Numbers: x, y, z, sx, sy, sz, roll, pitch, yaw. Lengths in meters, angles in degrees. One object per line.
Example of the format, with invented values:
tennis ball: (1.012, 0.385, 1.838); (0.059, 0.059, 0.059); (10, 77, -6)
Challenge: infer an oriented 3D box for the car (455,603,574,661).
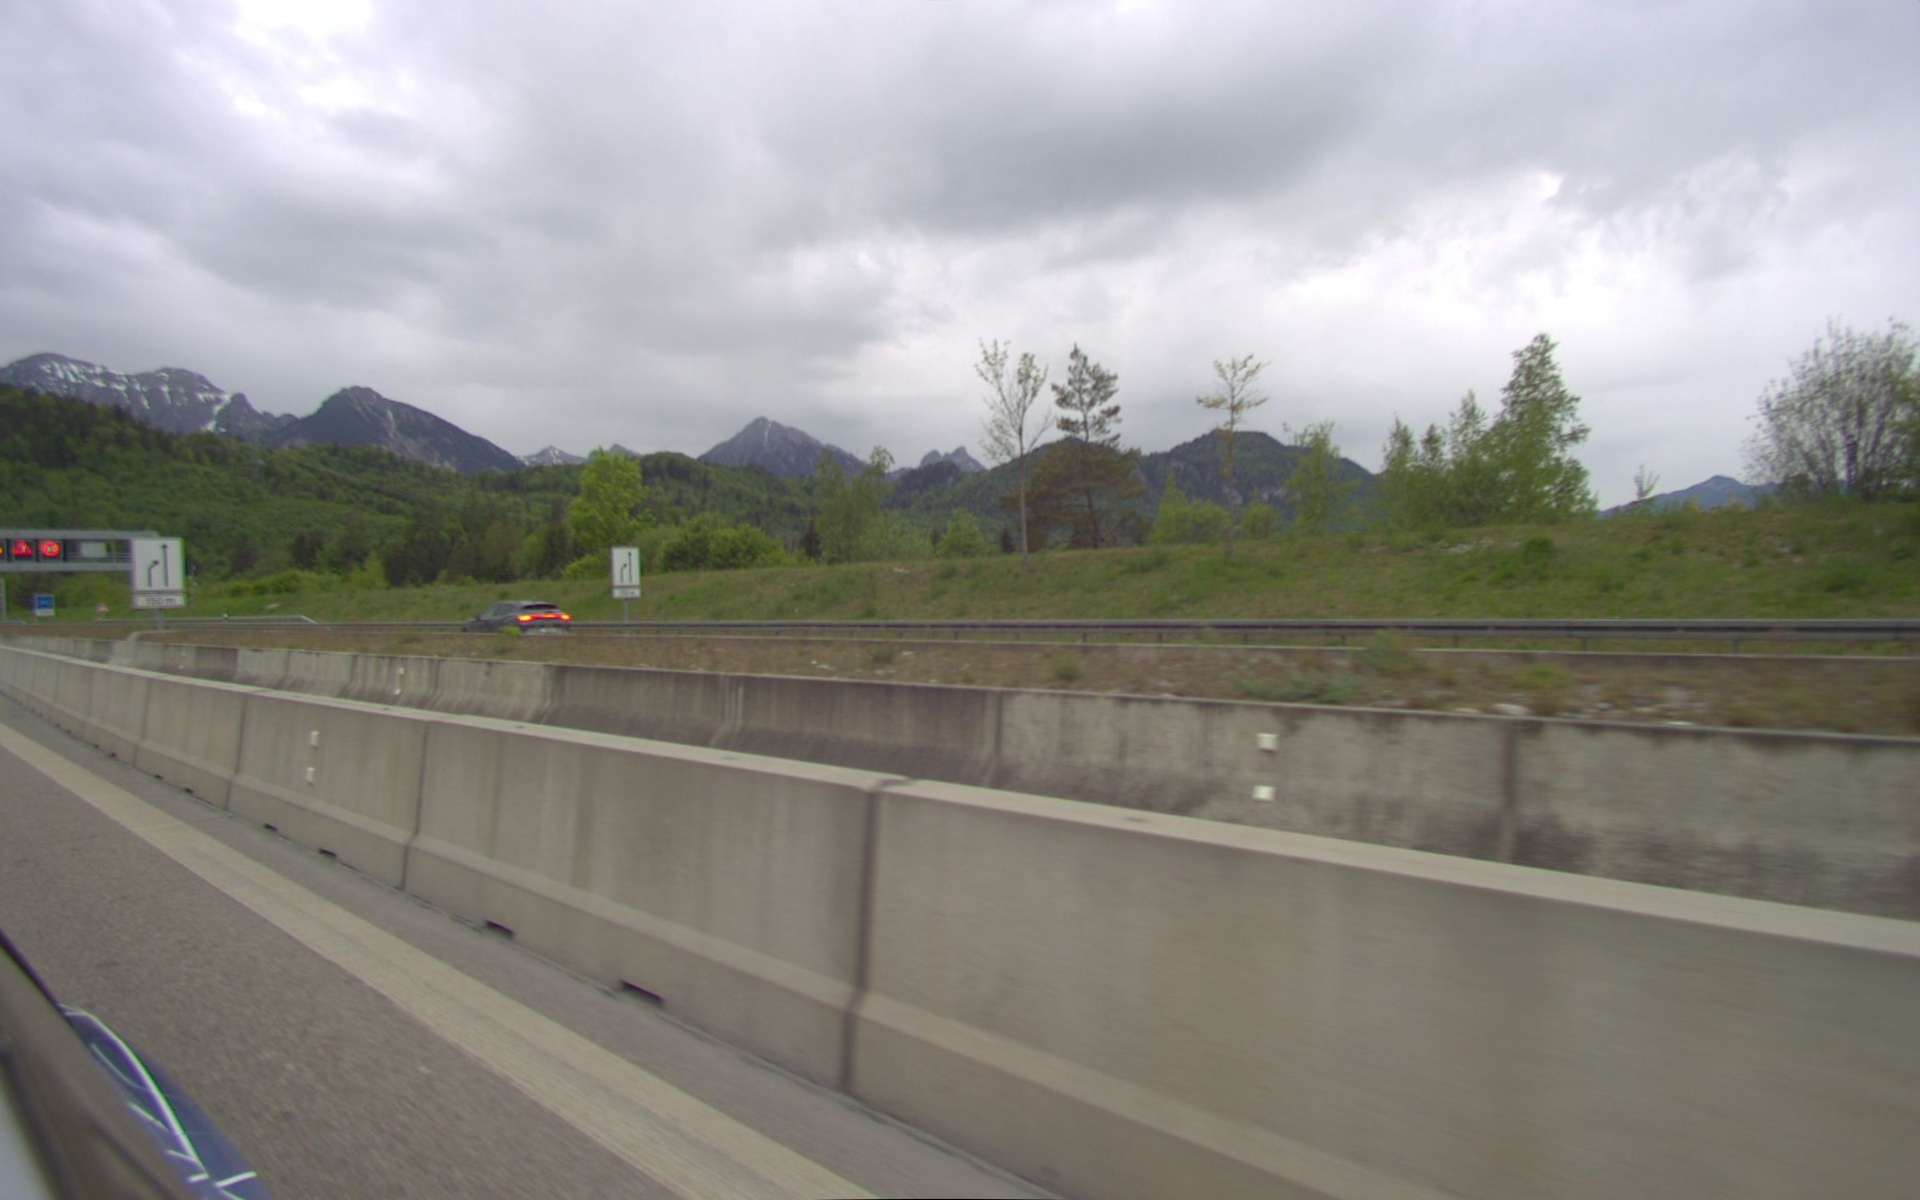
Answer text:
car: (-13.440, 0.931, 30.436); (4.175, 1.586, 1.684); (-1, 0, 42)
